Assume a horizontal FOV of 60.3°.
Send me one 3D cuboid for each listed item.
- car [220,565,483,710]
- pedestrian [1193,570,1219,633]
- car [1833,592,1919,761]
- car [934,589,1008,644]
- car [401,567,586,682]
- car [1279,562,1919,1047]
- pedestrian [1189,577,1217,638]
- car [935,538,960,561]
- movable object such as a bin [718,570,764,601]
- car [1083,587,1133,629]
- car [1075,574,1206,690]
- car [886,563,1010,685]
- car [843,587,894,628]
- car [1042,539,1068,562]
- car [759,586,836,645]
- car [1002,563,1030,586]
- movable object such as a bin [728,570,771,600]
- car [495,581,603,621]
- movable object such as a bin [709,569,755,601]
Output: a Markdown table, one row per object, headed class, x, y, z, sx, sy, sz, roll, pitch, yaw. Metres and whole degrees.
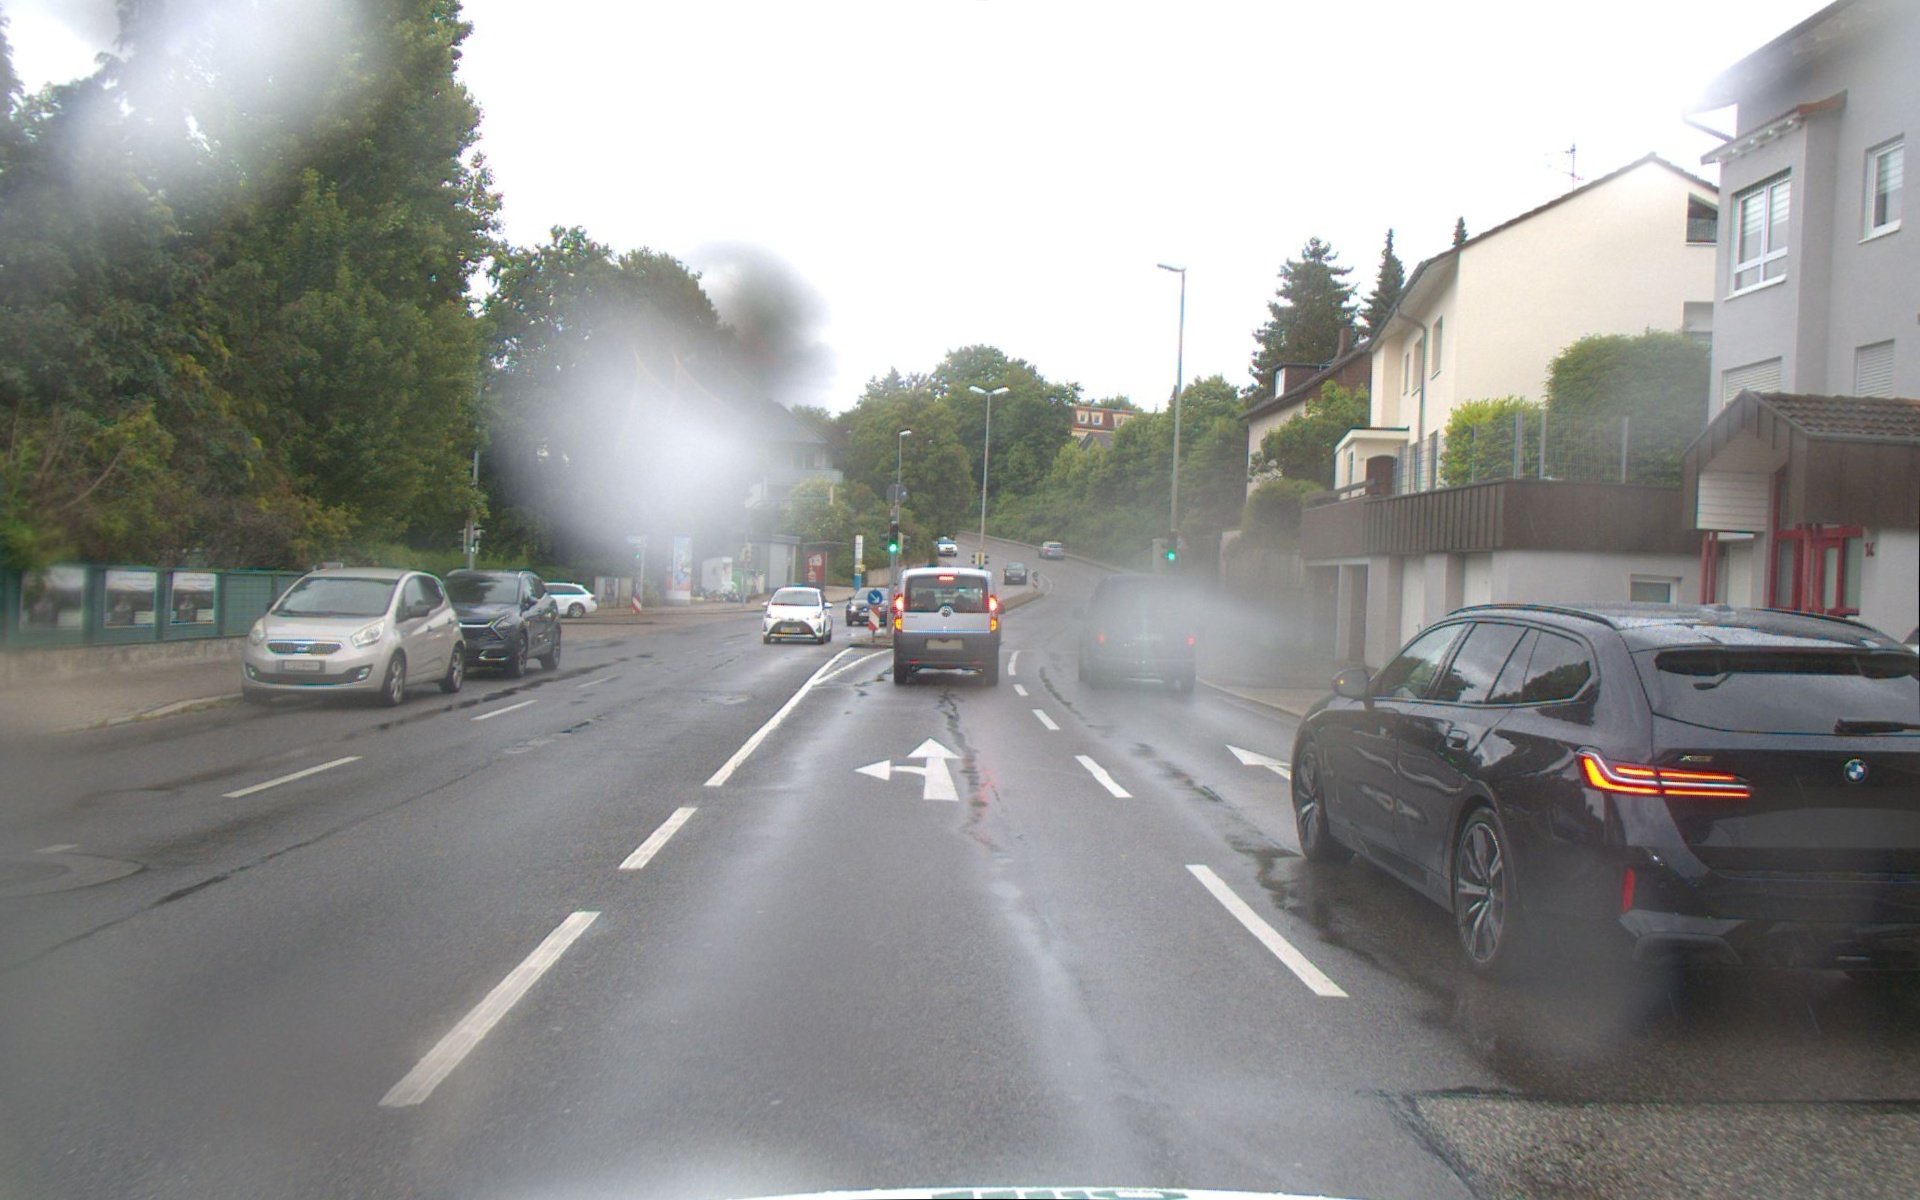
| class | x | y | z | sx | sy | sz | roll | pitch | yaw |
| --- | --- | --- | --- | --- | --- | --- | --- | --- | --- |
| car | -7.396 | 0.428 | 20.564 | 1.768 | 1.596 | 4.142 | 1 | 0 | -1 |
| pedestrian | 8.227 | 0.050 | 55.380 | 0.780 | 2.049 | 0.735 | 1 | 0 | 5 |
| car | 10.353 | 0.734 | 15.354 | 3.561 | 1.511 | 1.810 | 2 | 0 | -6 |
| car | 0.368 | 0.451 | 48.065 | 1.796 | 1.513 | 4.061 | 1 | 0 | 5 |
| car | -7.559 | 0.378 | 27.250 | 1.768 | 1.698 | 4.597 | 1 | 0 | -1 |
| car | 3.074 | 0.682 | 7.961 | 1.954 | 1.614 | 4.661 | 2 | 1 | -2 |
| pedestrian | 7.362 | 0.220 | 50.189 | 0.777 | 1.811 | 1.012 | 0 | 0 | 5 |
| car | -1.167 | -4.745 | 155.030 | 1.955 | 2.049 | 3.995 | 0 | 0 | -6 |
| movable object such as a bin | -11.686 | -0.769 | 88.222 | 2.014 | 1.596 | 1.583 | 1 | 2 | 10 |
| car | 6.668 | 0.332 | 74.899 | 1.813 | 1.690 | 4.000 | 2 | 2 | -1 |
| car | 2.956 | 0.484 | 27.783 | 1.952 | 1.779 | 4.002 | 0 | 0 | 3 |
| car | -0.118 | 0.357 | 28.443 | 1.910 | 1.903 | 4.748 | 0 | 0 | 2 |
| car | -3.580 | 0.293 | 65.157 | 1.676 | 1.529 | 4.000 | 1 | 0 | 1 |
| car | 8.804 | -4.578 | 153.794 | 1.954 | 2.049 | 3.997 | 0 | 0 | -4 |
| car | -4.427 | 0.392 | 45.539 | 1.795 | 1.557 | 3.999 | 0 | 0 | -1 |
| car | 4.097 | -1.869 | 121.252 | 1.952 | 1.601 | 4.001 | 1 | 0 | 2 |
| movable object such as a bin | -11.413 | -0.816 | 89.679 | 2.014 | 1.541 | 1.345 | 1 | 2 | 10 |
| car | -16.609 | 0.042 | 66.851 | 3.944 | 1.557 | 1.820 | 0 | 0 | -30 |
| movable object such as a bin | -11.941 | -0.783 | 86.640 | 2.014 | 1.596 | 1.583 | 1 | 2 | 10 |
